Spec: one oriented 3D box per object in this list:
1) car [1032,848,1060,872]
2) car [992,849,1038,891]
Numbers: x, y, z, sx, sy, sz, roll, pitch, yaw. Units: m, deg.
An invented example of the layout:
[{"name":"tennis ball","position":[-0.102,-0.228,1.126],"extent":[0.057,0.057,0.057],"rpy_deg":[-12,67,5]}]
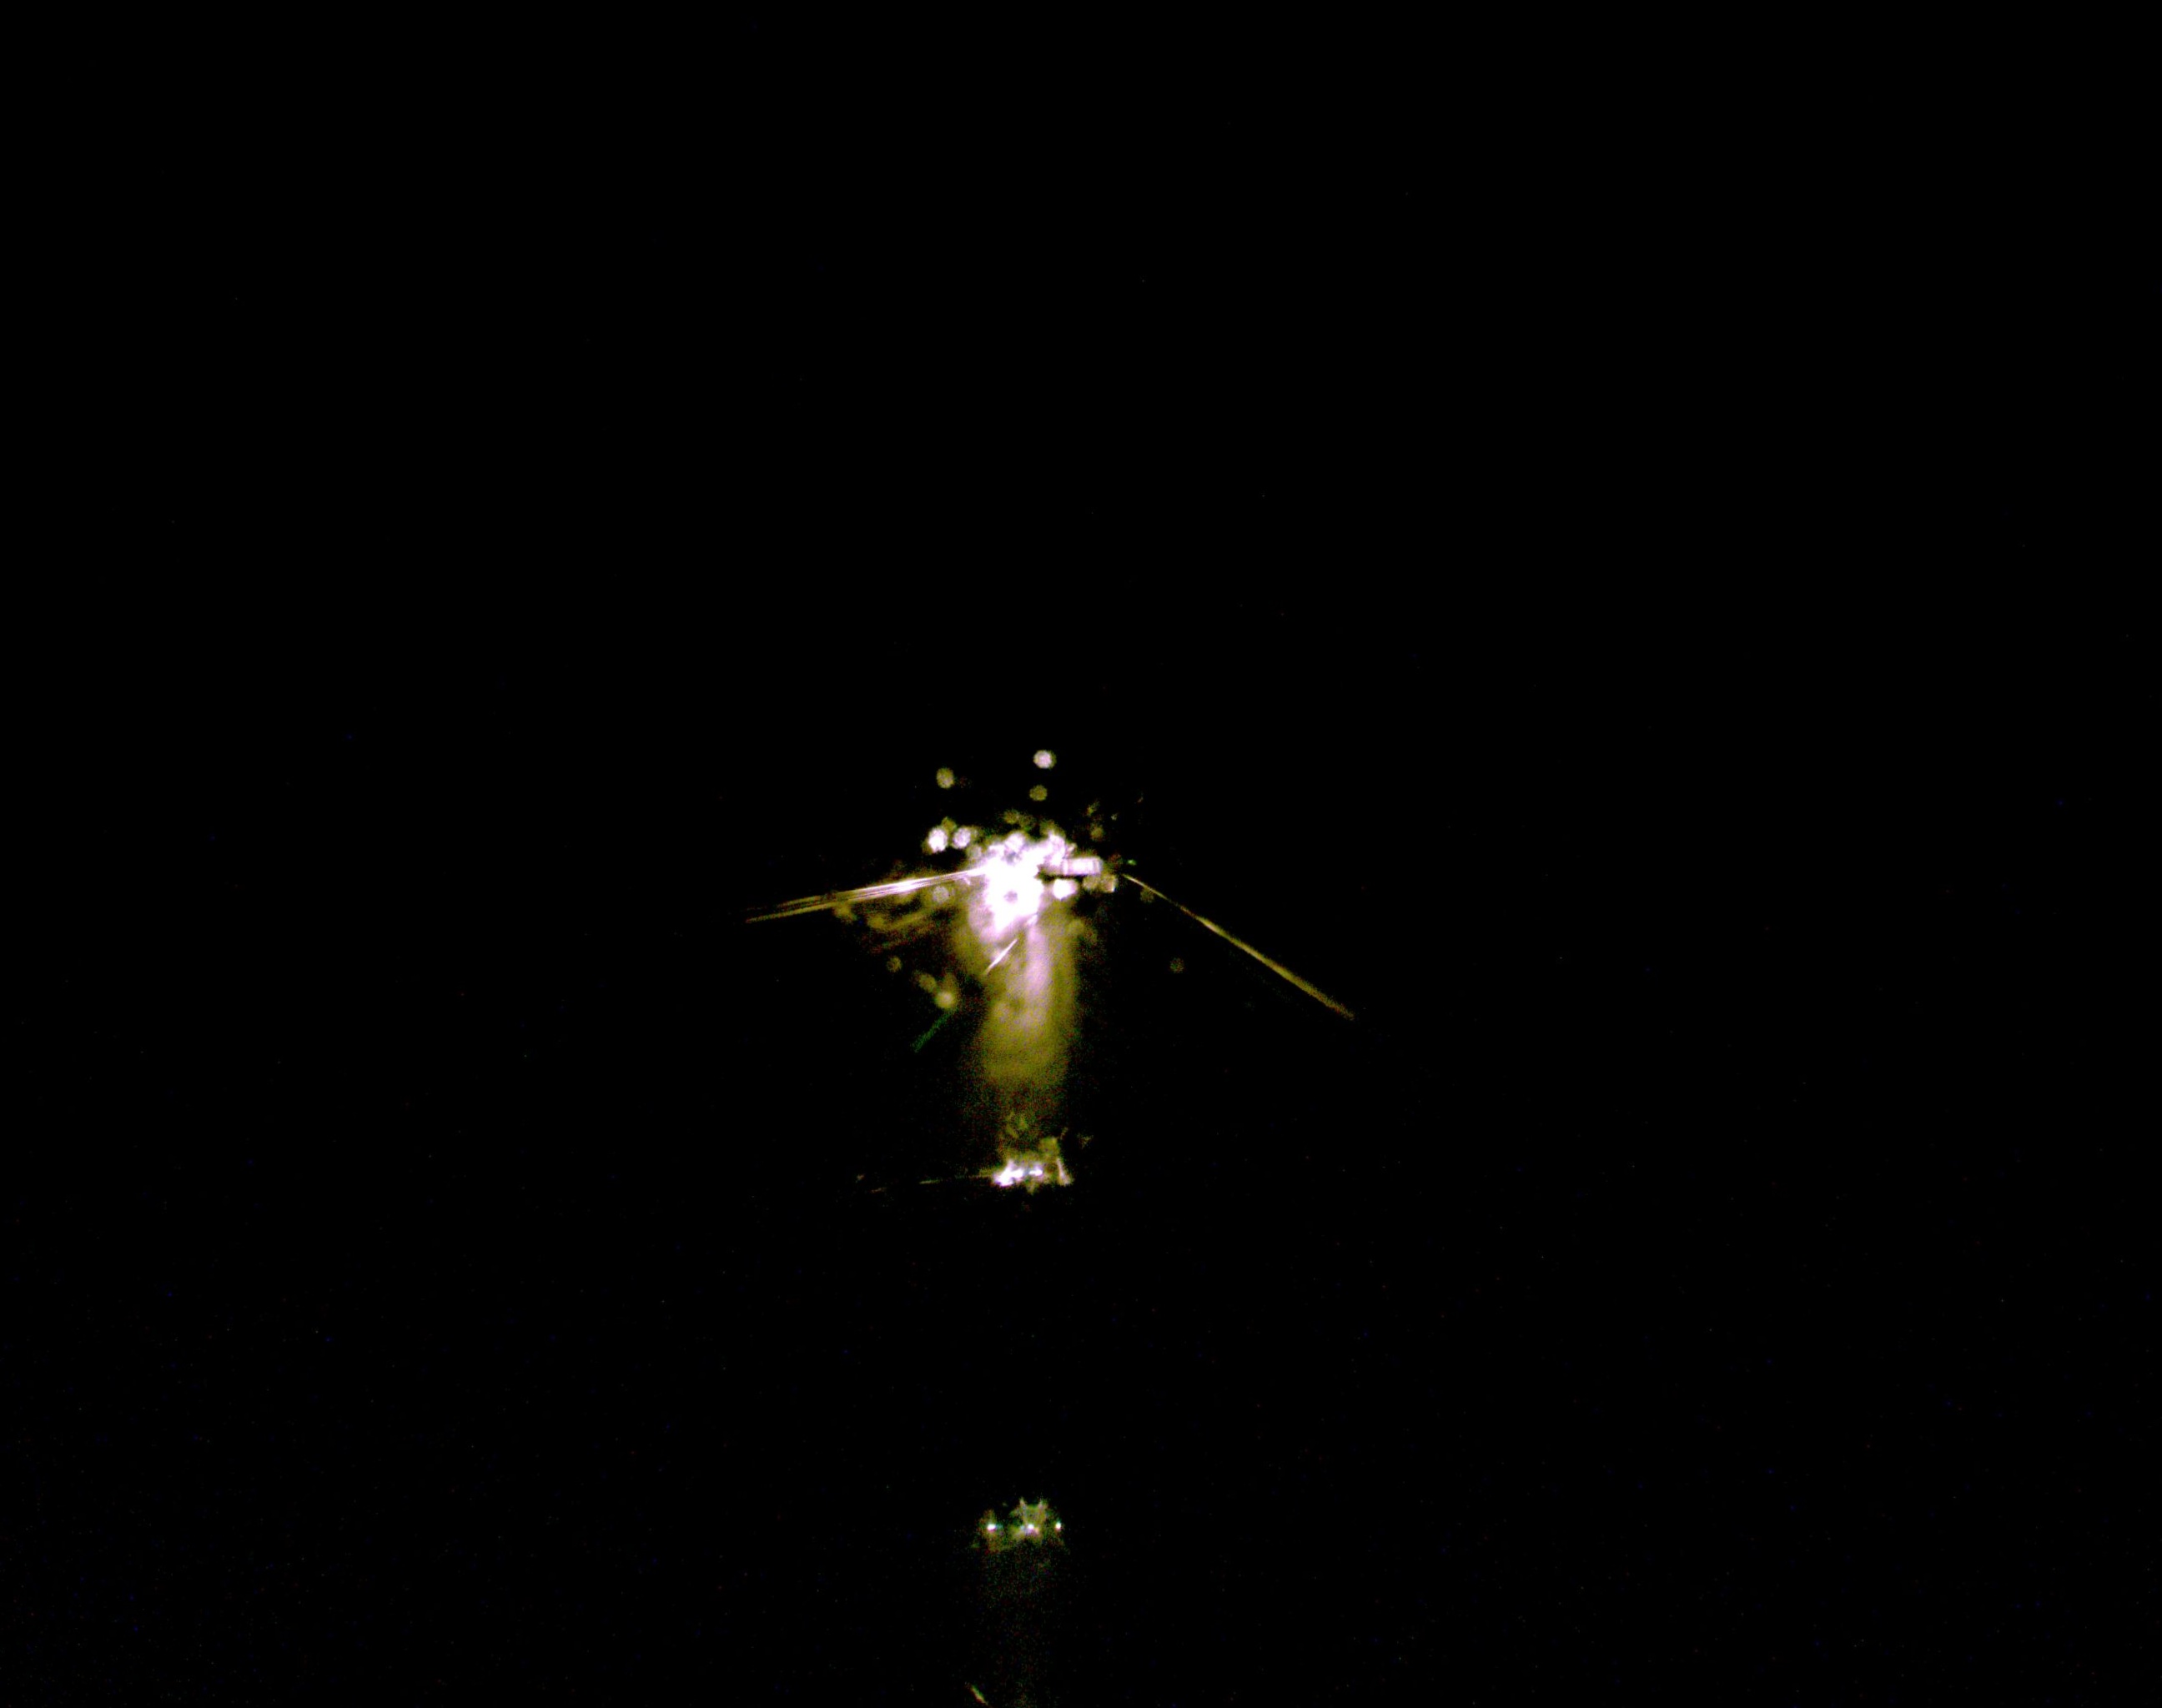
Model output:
[{"name":"car","position":[-2.666,0.468,62.843],"extent":[1.987,1.823,3.999],"rpy_deg":[0,0,0]},{"name":"car","position":[-2.747,0.639,34.760],"extent":[1.767,1.675,4.051],"rpy_deg":[0,0,-2]}]
